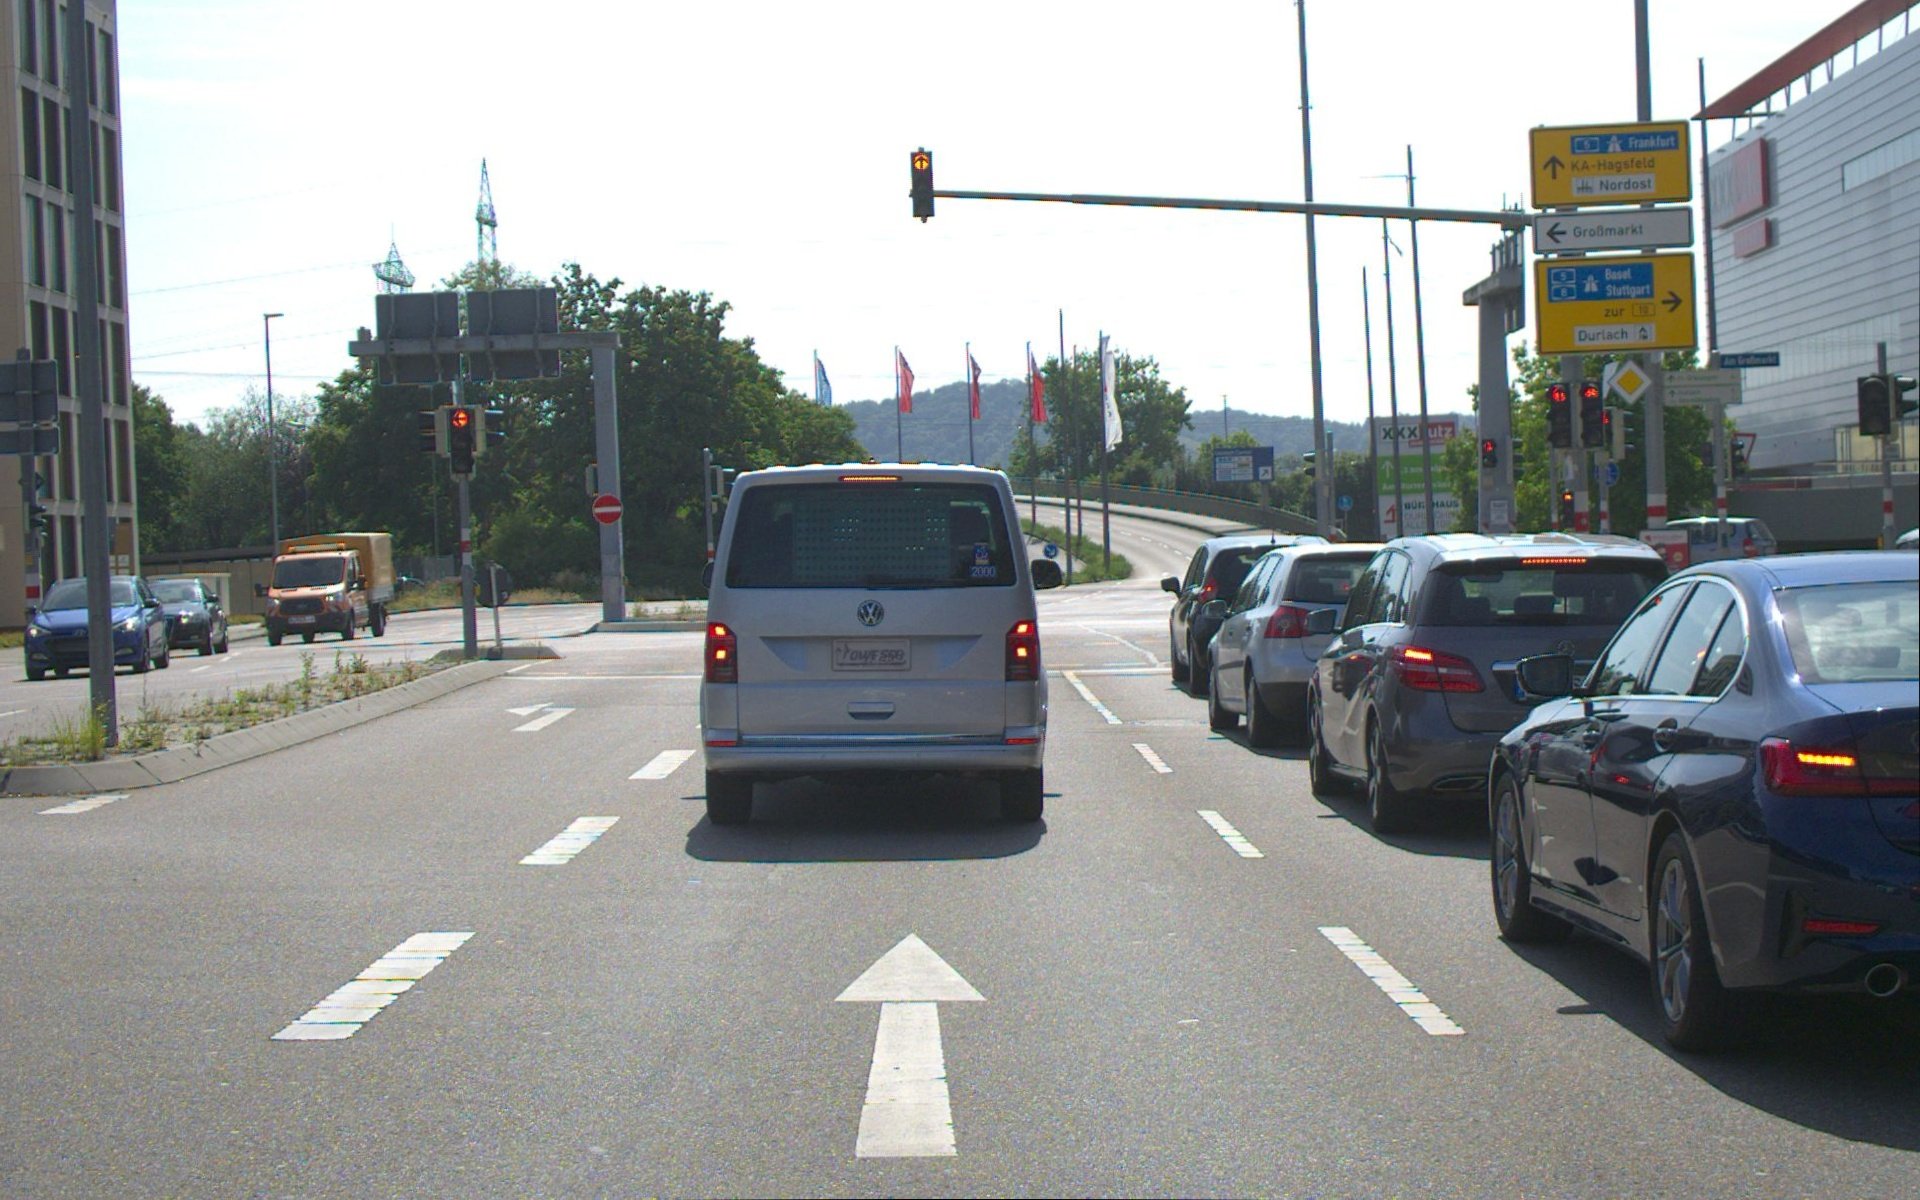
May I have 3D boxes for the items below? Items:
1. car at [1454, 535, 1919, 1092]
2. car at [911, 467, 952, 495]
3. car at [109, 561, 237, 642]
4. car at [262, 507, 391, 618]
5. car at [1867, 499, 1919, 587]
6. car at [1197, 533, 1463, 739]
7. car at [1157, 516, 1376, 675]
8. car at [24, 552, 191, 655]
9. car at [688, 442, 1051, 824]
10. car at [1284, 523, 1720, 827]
[{"bbox_3d":[2.845,0.521,11.296,1.746,1.453,4.476,0,1,-1],"label":"car"},{"bbox_3d":[-2.082,-8.628,249.841,1.993,2.007,4.001,-1,1,-15],"label":"car"},{"bbox_3d":[-14.906,-0.003,65.323,1.576,1.404,4.380,-2,1,-3],"label":"car"},{"bbox_3d":[-15.578,-0.945,84.910,2.405,2.552,6.897,-2,1,-5],"label":"car"},{"bbox_3d":[18.266,-1.126,61.221,3.773,1.513,1.481,-4,1,5],"label":"car"},{"bbox_3d":[2.752,0.220,26.262,1.578,1.453,3.786,0,1,-1],"label":"car"},{"bbox_3d":[3.055,-0.083,34.983,1.836,1.521,4.000,0,1,-1],"label":"car"},{"bbox_3d":[-12.763,0.026,51.677,1.681,1.353,3.841,-2,2,-3],"label":"car"},{"bbox_3d":[-0.489,0.130,19.935,1.884,1.983,4.000,0,1,0],"label":"car"},{"bbox_3d":[2.908,0.333,19.247,1.746,1.511,4.078,0,1,-1],"label":"car"}]
